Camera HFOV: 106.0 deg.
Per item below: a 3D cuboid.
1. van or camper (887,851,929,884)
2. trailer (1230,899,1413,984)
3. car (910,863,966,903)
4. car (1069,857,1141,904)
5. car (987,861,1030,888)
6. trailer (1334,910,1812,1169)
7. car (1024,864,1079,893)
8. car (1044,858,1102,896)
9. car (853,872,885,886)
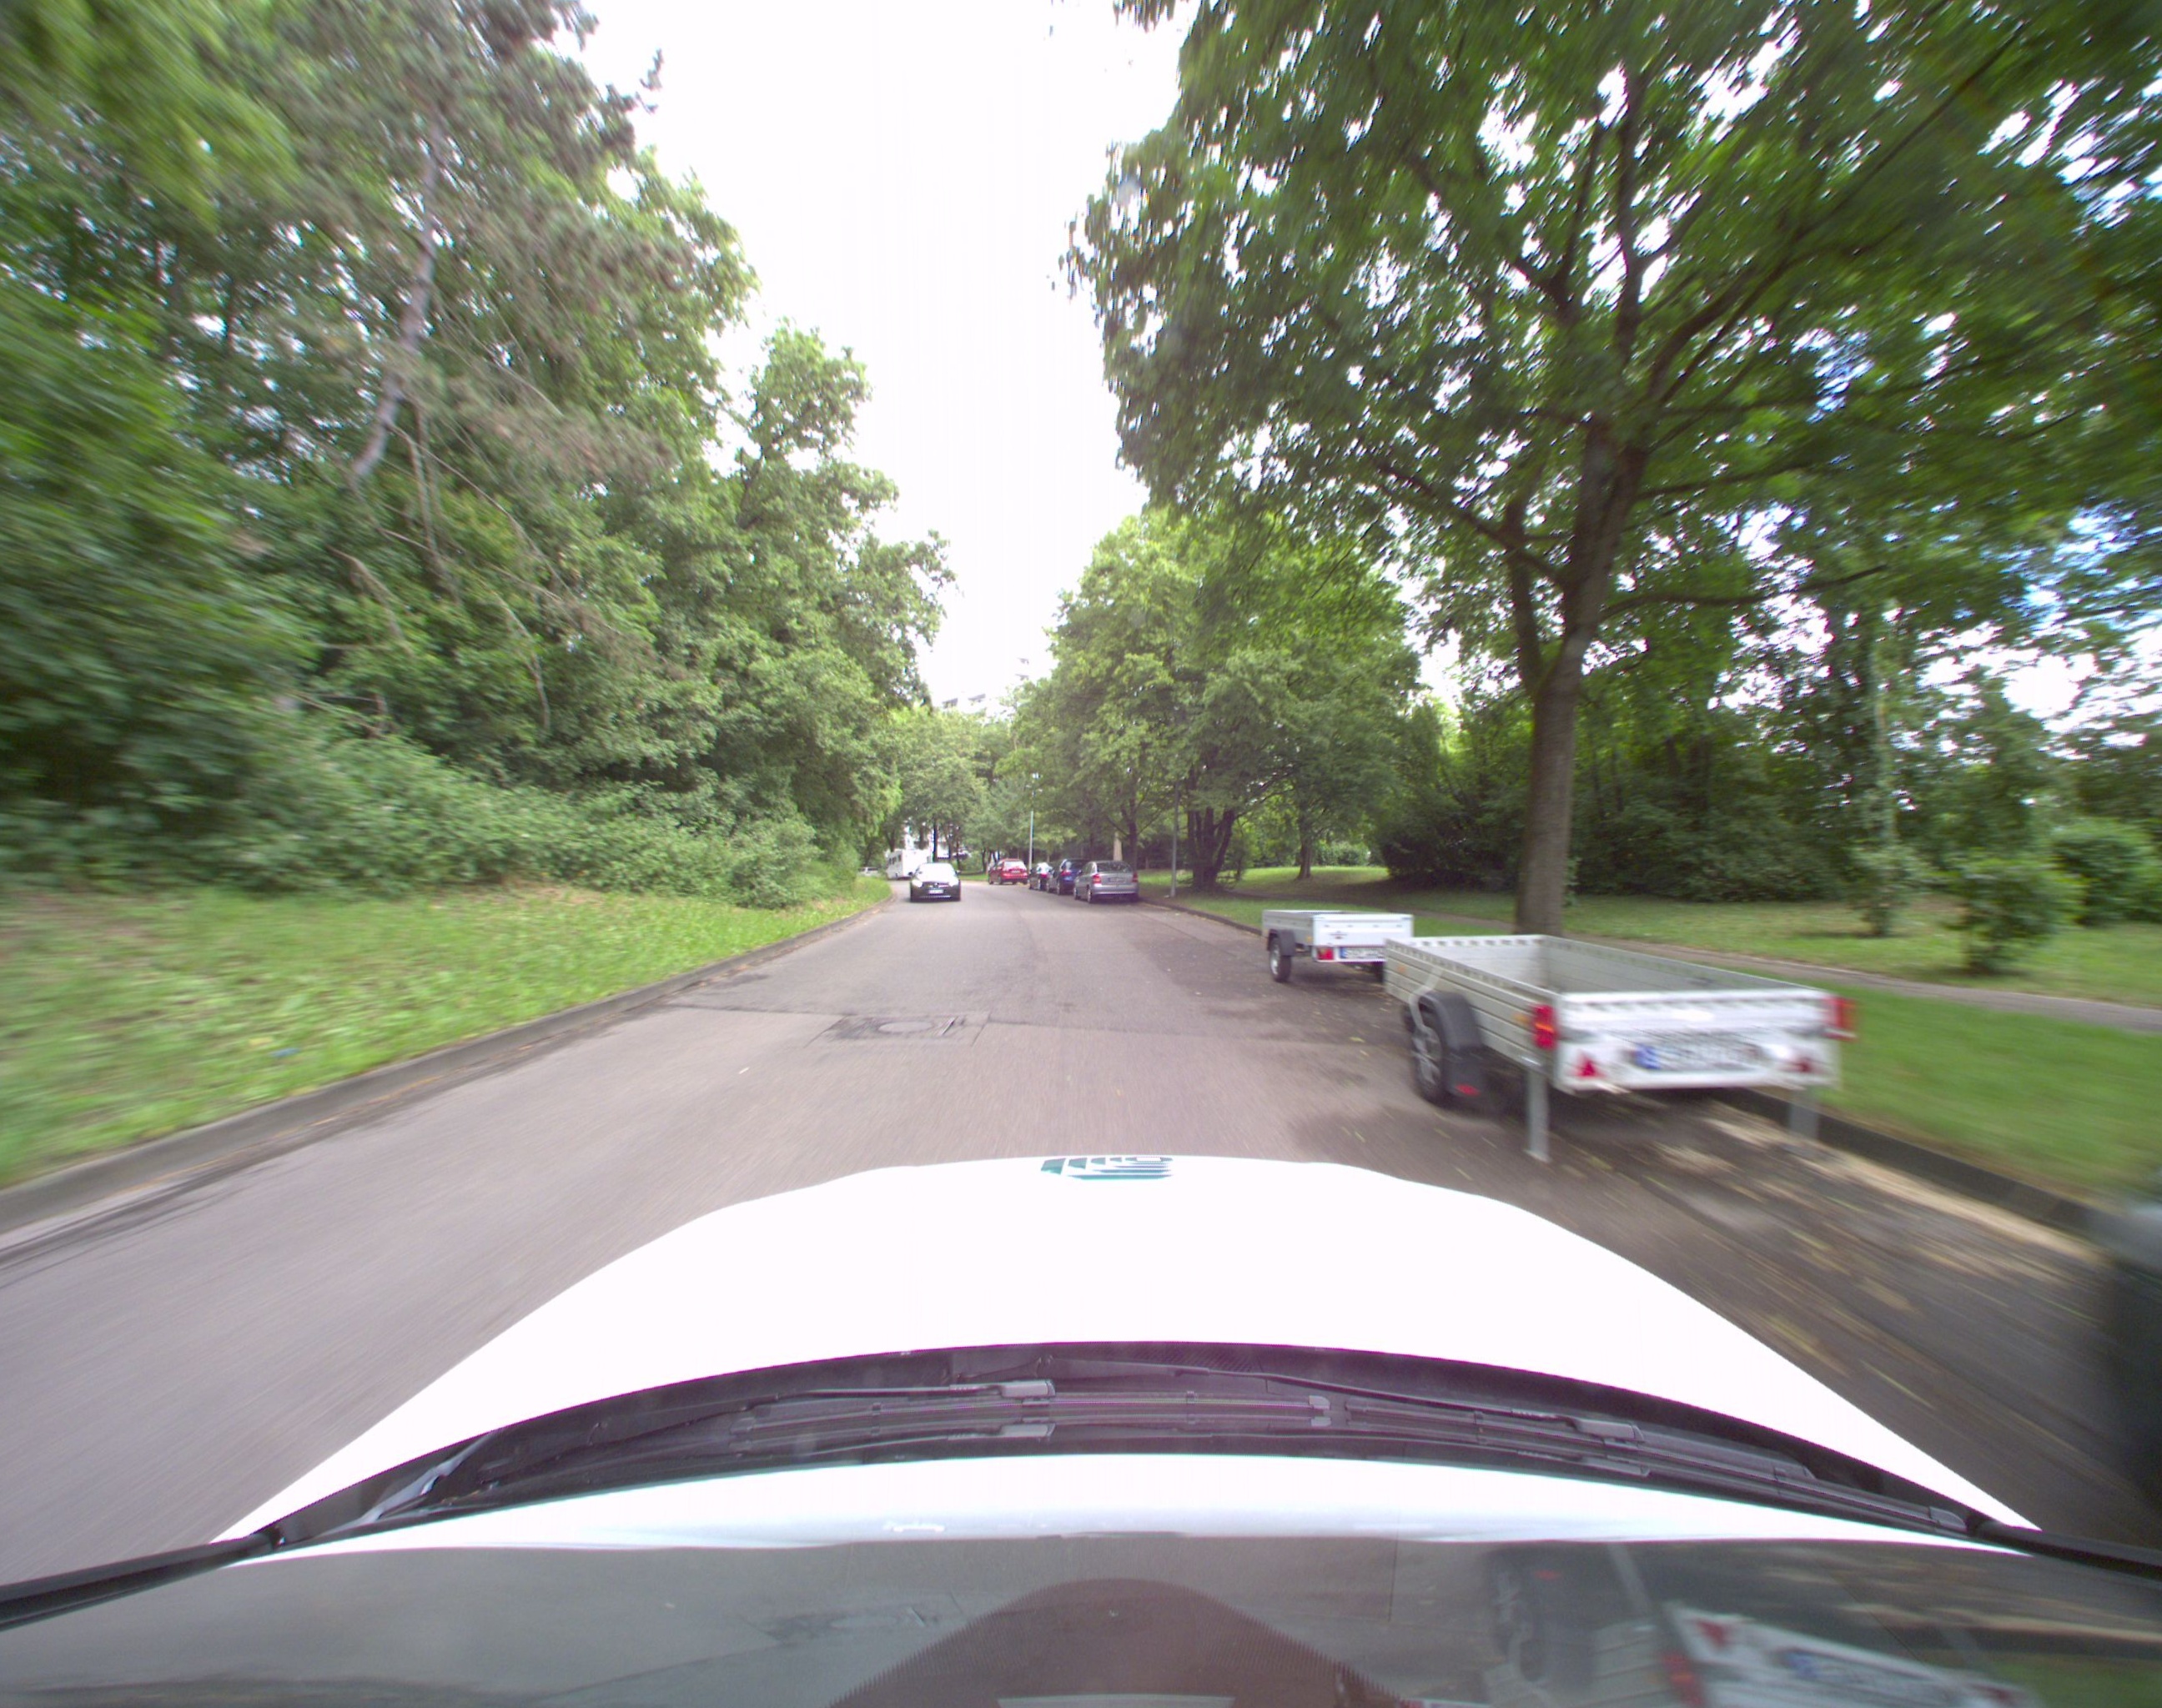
[{"bbox_3d":[-16.531,1.262,77.622,2.444,3.007,5.159,-1,0,-29],"label":"van or camper"},{"bbox_3d":[3.002,1.073,10.786,1.360,0.848,3.275,1,-2,-2],"label":"trailer"},{"bbox_3d":[-5.414,1.099,31.293,1.789,1.389,4.481,1,-2,-6],"label":"car"},{"bbox_3d":[0.761,0.866,28.529,1.718,1.431,3.934,-1,0,-11],"label":"car"},{"bbox_3d":[-4.514,1.261,50.243,1.744,1.562,3.973,-1,-1,-19],"label":"car"},{"bbox_3d":[3.037,1.049,5.987,1.351,0.969,3.896,1,0,3],"label":"trailer"},{"bbox_3d":[-1.512,1.165,39.782,1.753,1.337,4.393,0,-1,-15],"label":"car"},{"bbox_3d":[-0.422,0.976,35.161,1.715,1.510,4.164,2,-2,-12],"label":"car"},{"bbox_3d":[-23.207,2.687,88.893,2.009,1.473,3.955,3,-2,-37],"label":"car"}]
